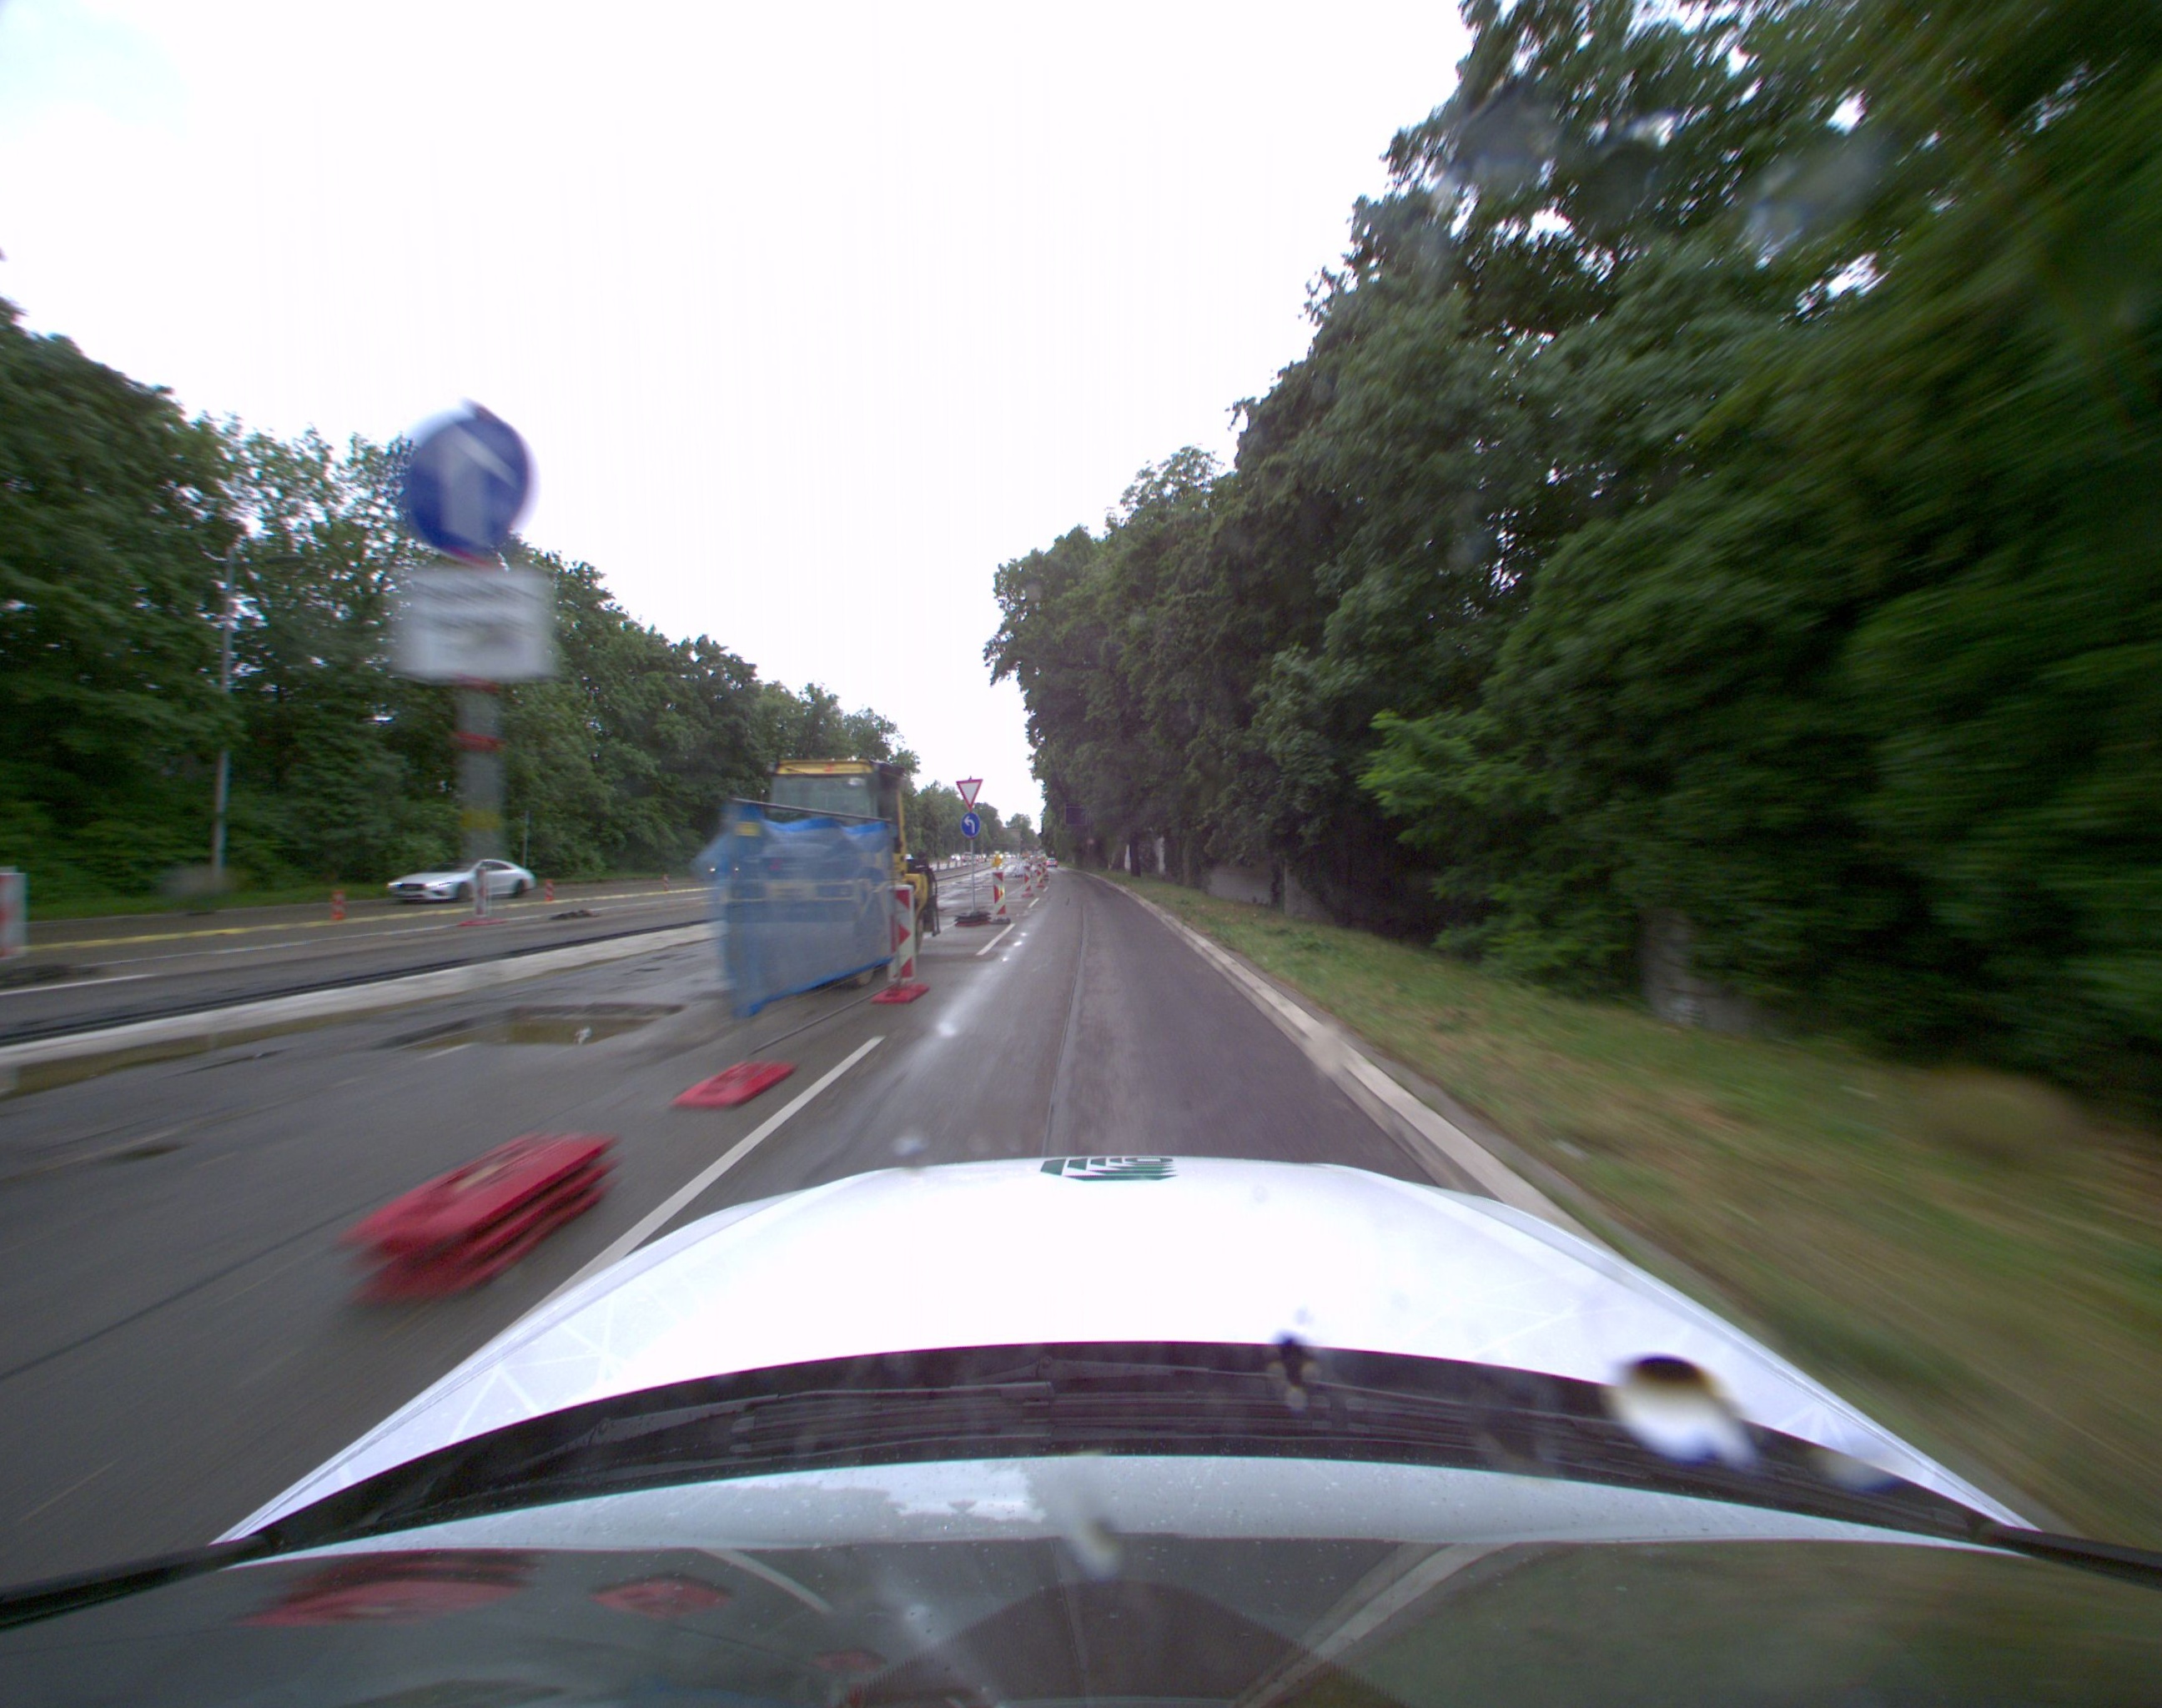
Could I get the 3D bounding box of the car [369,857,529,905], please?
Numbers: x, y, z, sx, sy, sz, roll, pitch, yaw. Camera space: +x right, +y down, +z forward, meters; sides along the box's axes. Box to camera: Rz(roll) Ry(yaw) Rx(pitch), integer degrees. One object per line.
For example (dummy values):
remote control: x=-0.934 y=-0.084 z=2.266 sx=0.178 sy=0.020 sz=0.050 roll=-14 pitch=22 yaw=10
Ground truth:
car: x=-20.621 y=0.818 z=26.856 sx=1.778 sy=1.426 sz=4.469 roll=0 pitch=0 yaw=0

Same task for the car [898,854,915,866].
car: x=-24.987 y=0.847 z=116.854 sx=1.662 sy=1.541 sz=4.154 roll=-2 pitch=0 yaw=-2

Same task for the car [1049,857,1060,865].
car: x=-4.259 y=1.120 z=129.704 sx=1.694 sy=1.336 sz=3.486 roll=-1 pitch=0 yaw=-4

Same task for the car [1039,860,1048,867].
car: x=-7.445 y=1.868 z=162.502 sx=1.850 sy=1.433 sz=3.728 roll=0 pitch=-1 yaw=-2

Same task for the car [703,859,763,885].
car: x=-21.185 y=1.066 z=49.794 sx=1.779 sy=1.452 sz=4.678 roll=0 pitch=0 yaw=-2

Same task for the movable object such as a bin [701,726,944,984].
movable object such as a bin: x=-3.424 y=0.017 z=12.025 sx=1.797 sy=2.985 sz=5.246 roll=0 pitch=0 yaw=1
